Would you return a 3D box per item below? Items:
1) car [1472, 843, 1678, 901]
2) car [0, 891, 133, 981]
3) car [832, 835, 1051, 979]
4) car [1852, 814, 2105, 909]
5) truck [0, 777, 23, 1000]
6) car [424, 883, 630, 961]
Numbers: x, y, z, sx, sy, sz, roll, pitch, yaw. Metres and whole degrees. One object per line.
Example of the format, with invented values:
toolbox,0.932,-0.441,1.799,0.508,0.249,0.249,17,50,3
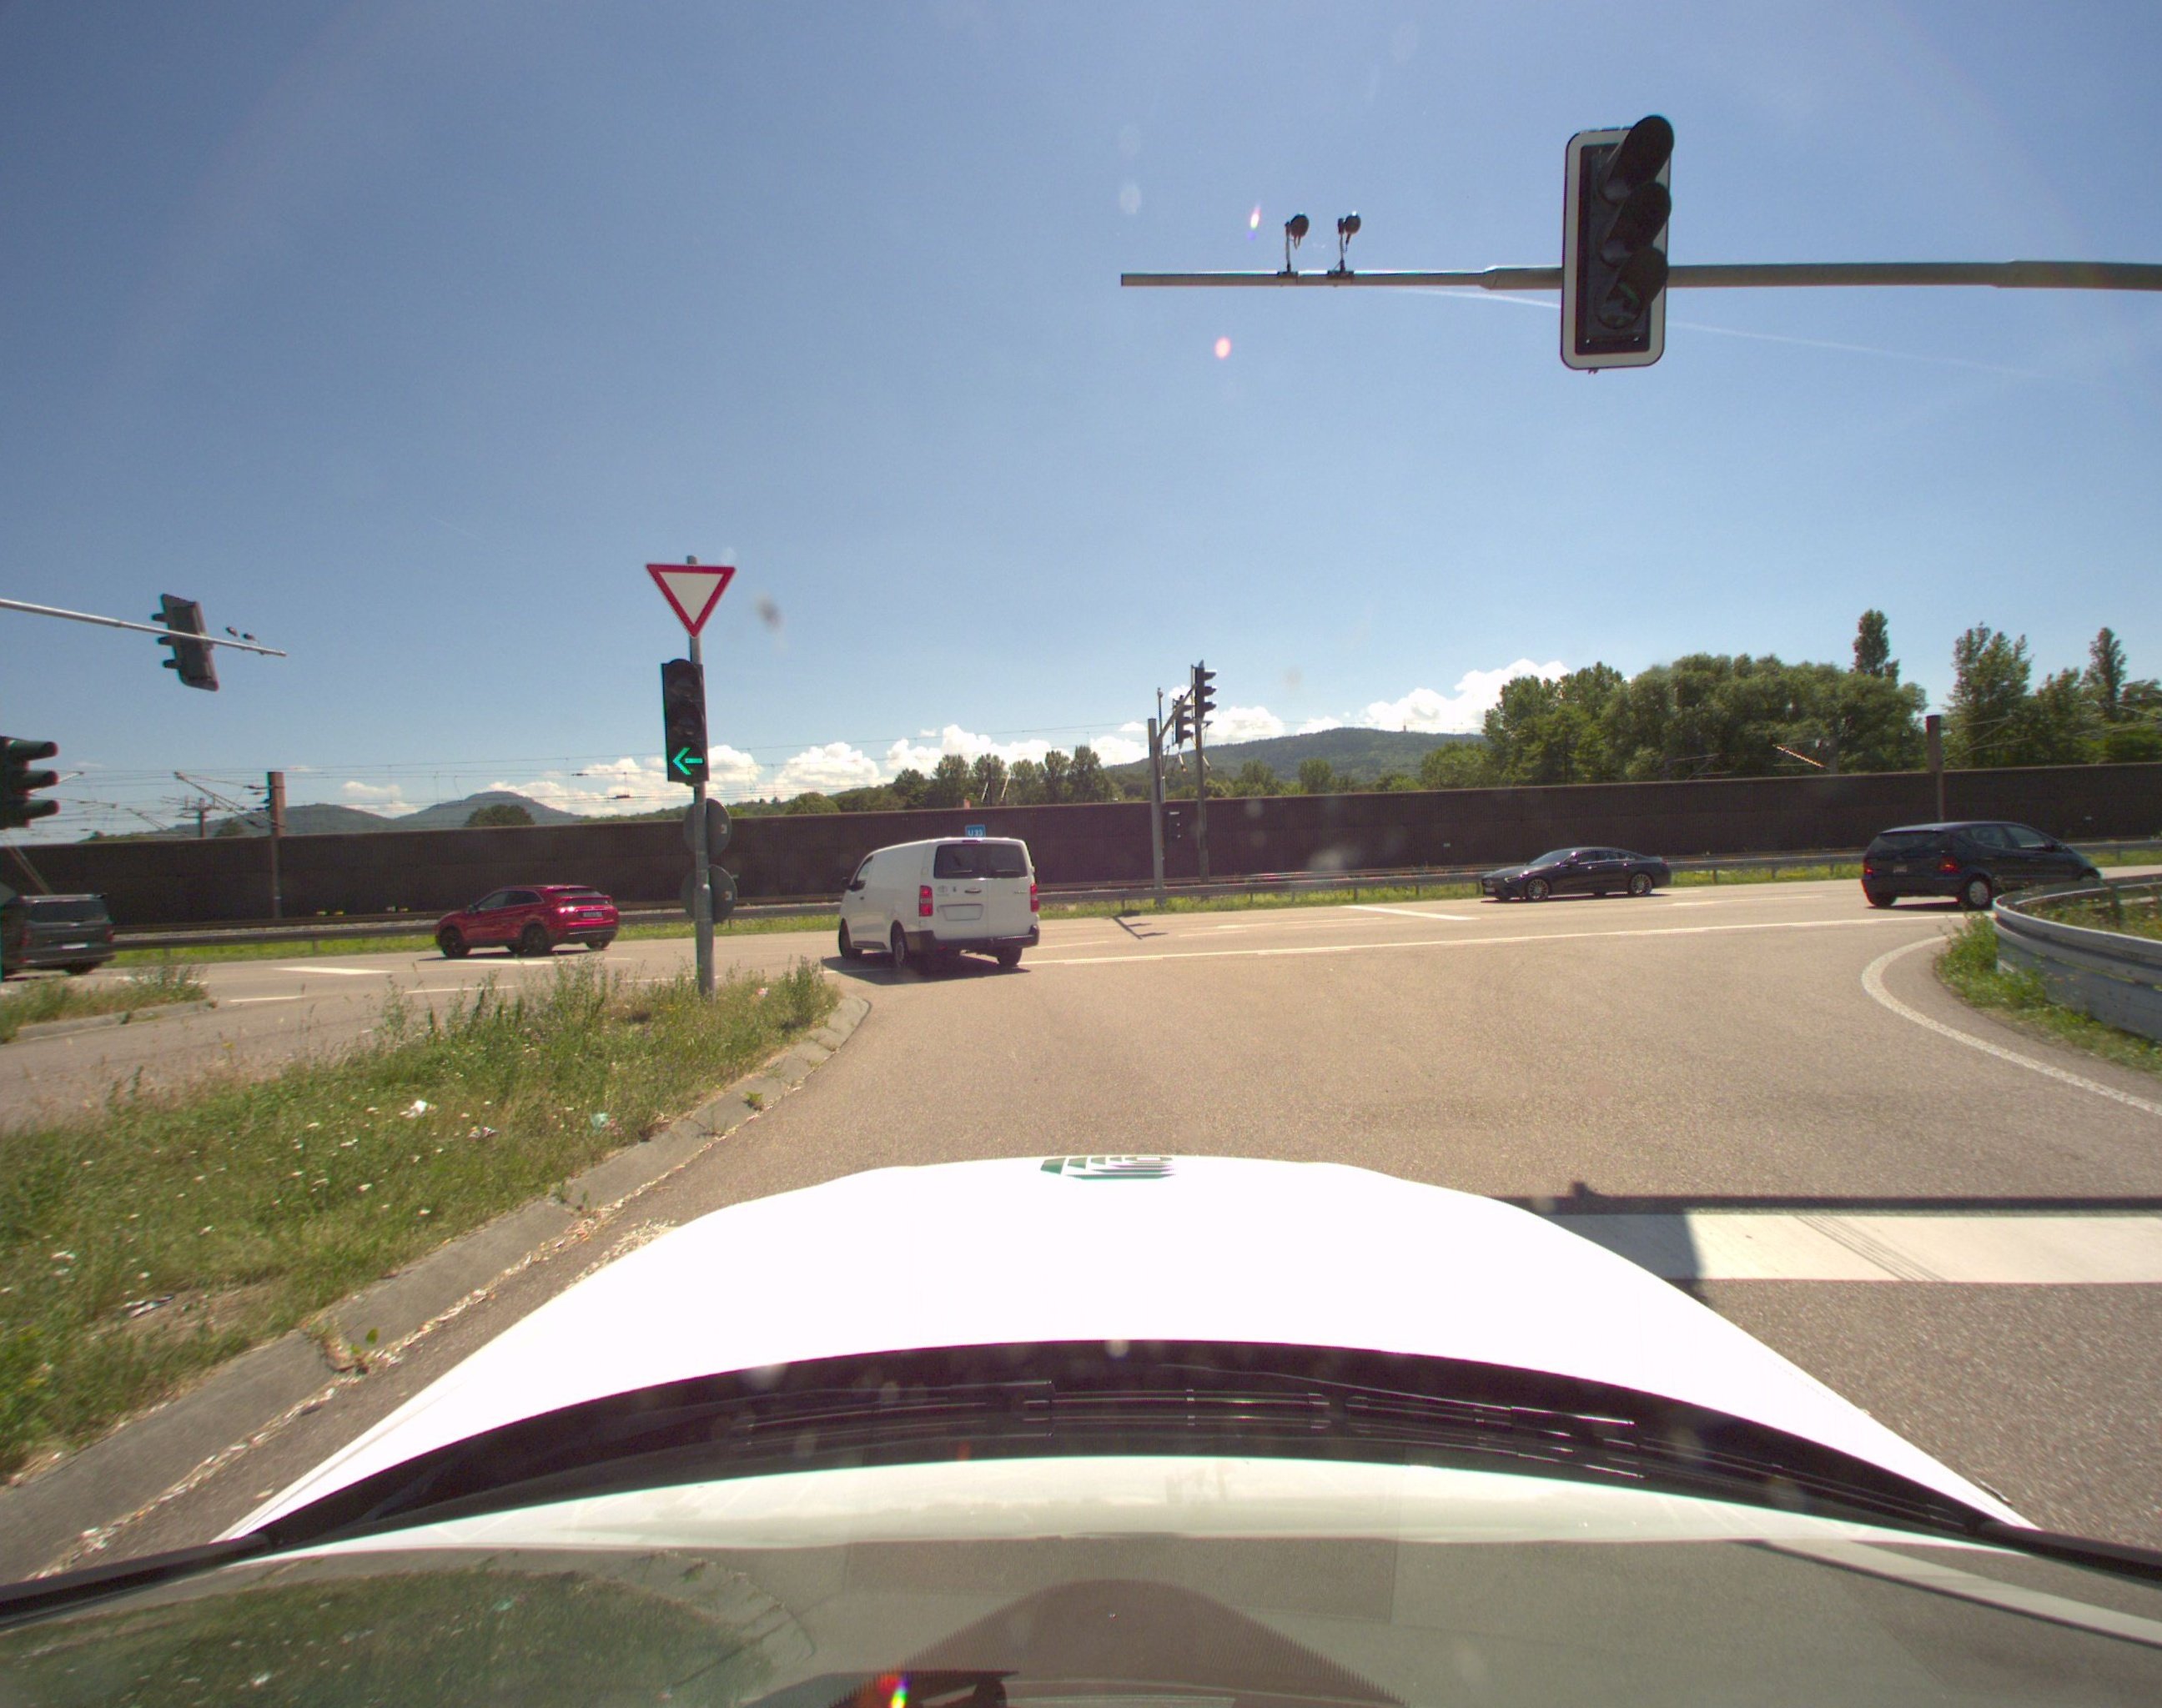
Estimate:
car,13.705,0.503,22.782,4.621,1.364,1.911,-2,-2,-2
car,-27.075,2.078,20.308,4.744,2.022,2.016,-3,-1,5
car,-2.481,0.781,13.230,1.958,1.882,4.833,-1,-2,-30
car,17.297,0.137,15.756,3.550,1.597,1.637,-2,-1,-11
truck,-22.438,0.733,13.598,5.791,4.045,2.696,-3,-2,-2
car,-13.442,1.634,19.814,4.096,1.649,1.920,-3,-2,16
